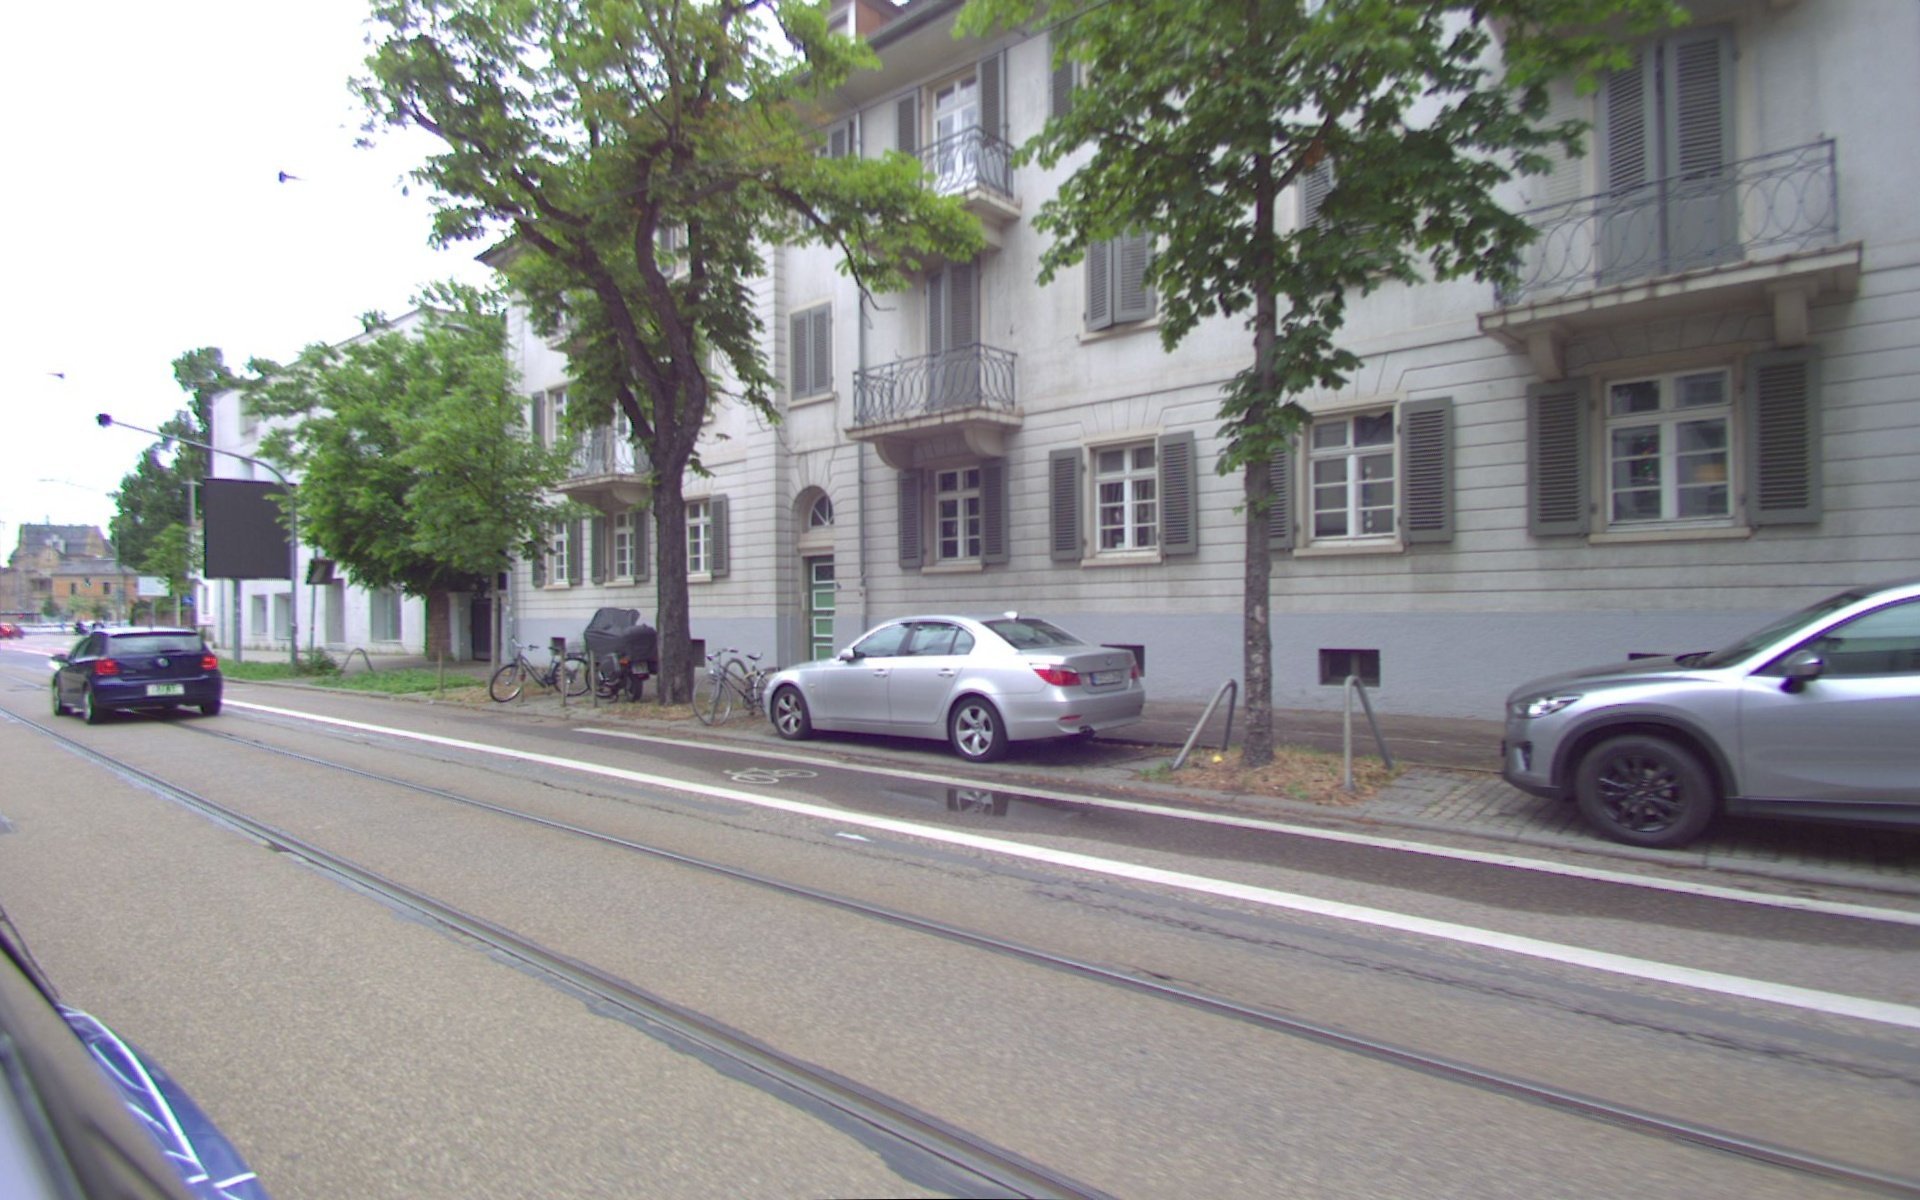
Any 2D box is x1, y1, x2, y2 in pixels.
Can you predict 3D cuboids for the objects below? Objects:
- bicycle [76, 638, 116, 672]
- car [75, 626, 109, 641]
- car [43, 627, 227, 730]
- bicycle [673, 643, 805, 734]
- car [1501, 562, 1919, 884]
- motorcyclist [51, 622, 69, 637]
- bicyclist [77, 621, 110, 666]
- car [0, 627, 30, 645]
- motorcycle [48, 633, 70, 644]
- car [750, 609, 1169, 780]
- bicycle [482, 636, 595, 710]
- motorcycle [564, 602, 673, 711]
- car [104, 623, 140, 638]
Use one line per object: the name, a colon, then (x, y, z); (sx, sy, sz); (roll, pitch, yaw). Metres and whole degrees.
bicycle: (-33.465, 2.114, 39.218); (0.763, 1.221, 1.875); (0, -1, -27)
car: (-92.360, 3.592, 107.739); (1.469, 1.520, 3.479); (0, -1, -16)
car: (-13.266, 1.169, 16.208); (3.653, 1.419, 1.711); (-2, -1, 41)
bicycle: (-3.001, 1.176, 13.924); (0.563, 1.035, 1.877); (2, 2, 37)
car: (5.775, 0.623, 5.896); (4.292, 1.673, 1.818); (-2, 1, 42)
motorcyclist: (-91.489, 3.020, 102.865); (1.058, 1.497, 1.255); (-1, -1, -27)
bicyclist: (-33.310, 1.666, 38.919); (0.763, 1.703, 0.871); (0, -1, -27)
car: (-86.325, 3.274, 92.215); (1.732, 1.511, 4.010); (1, -2, -35)
motorcycle: (-91.310, 3.864, 102.556); (1.038, 1.077, 2.656); (-1, -1, -27)
car: (-0.191, 0.888, 11.164); (4.613, 1.477, 1.792); (-2, -1, 42)
bicycle: (-7.350, 1.253, 17.679); (1.718, 1.137, 0.519); (-2, 0, -31)
motorcycle: (-5.634, 0.887, 16.584); (0.822, 1.655, 2.484); (0, -1, -41)
car: (-94.855, 3.462, 114.632); (1.658, 1.663, 3.991); (-1, -1, -15)
